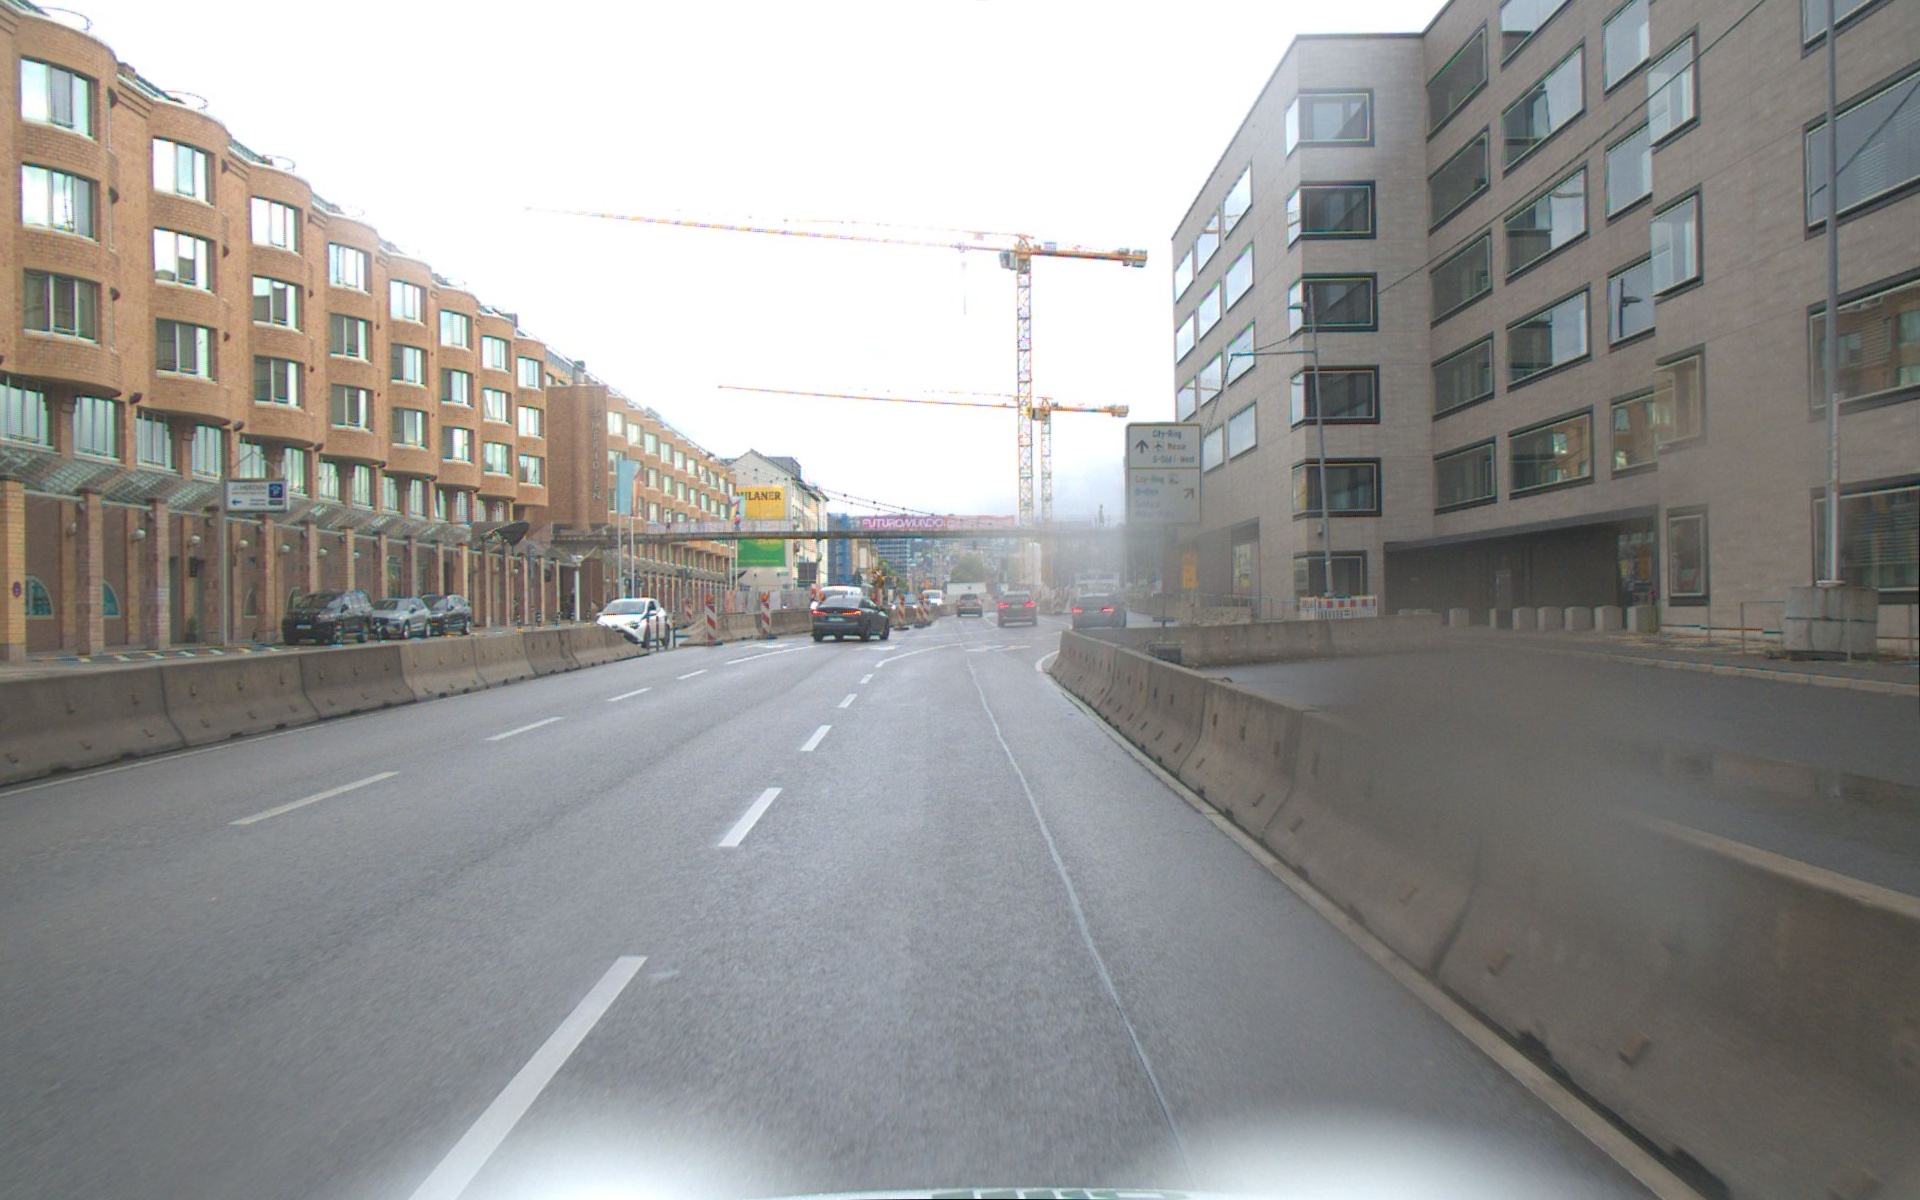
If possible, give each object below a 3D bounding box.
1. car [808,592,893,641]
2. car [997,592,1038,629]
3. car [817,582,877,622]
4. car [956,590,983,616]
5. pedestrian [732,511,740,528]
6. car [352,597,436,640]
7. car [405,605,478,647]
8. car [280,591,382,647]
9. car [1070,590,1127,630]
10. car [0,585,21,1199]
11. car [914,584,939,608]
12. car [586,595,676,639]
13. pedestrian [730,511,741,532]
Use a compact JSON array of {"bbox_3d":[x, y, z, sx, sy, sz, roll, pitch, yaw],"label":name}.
[{"bbox_3d":[-3.472,0.504,53.321,1.823,1.468,4.660,-1,0,7],"label":"car"},{"bbox_3d":[2.723,0.466,79.173,1.824,1.689,4.656,-1,0,0],"label":"car"},{"bbox_3d":[-5.281,0.066,77.857,1.846,1.814,4.881,-1,0,8],"label":"car"},{"bbox_3d":[0.662,0.176,116.989,1.825,1.796,4.655,-1,0,-1],"label":"car"},{"bbox_3d":[-15.861,-5.703,117.090,0.465,1.215,0.484,-2,0,3],"label":"pedestrian"},{"bbox_3d":[-22.893,0.709,67.062,1.953,1.621,4.538,-1,0,-2],"label":"car"},{"bbox_3d":[-22.771,1.119,72.836,1.954,1.720,5.045,-1,0,-4],"label":"car"},{"bbox_3d":[-22.840,0.655,60.284,1.953,1.919,5.012,-1,0,-2],"label":"car"},{"bbox_3d":[5.399,0.363,63.981,1.823,1.458,4.660,-1,0,9],"label":"car"},{"bbox_3d":[-2.940,0.727,1.384,1.732,1.468,4.655,-1,0,-1],"label":"car"},{"bbox_3d":[-2.809,-0.364,138.210,1.953,1.918,4.868,-1,0,-2],"label":"car"},{"bbox_3d":[-9.916,0.487,50.077,1.578,1.253,3.730,-1,0,7],"label":"car"},{"bbox_3d":[-15.909,-5.540,117.073,0.607,1.477,0.618,-2,0,3],"label":"pedestrian"}]
